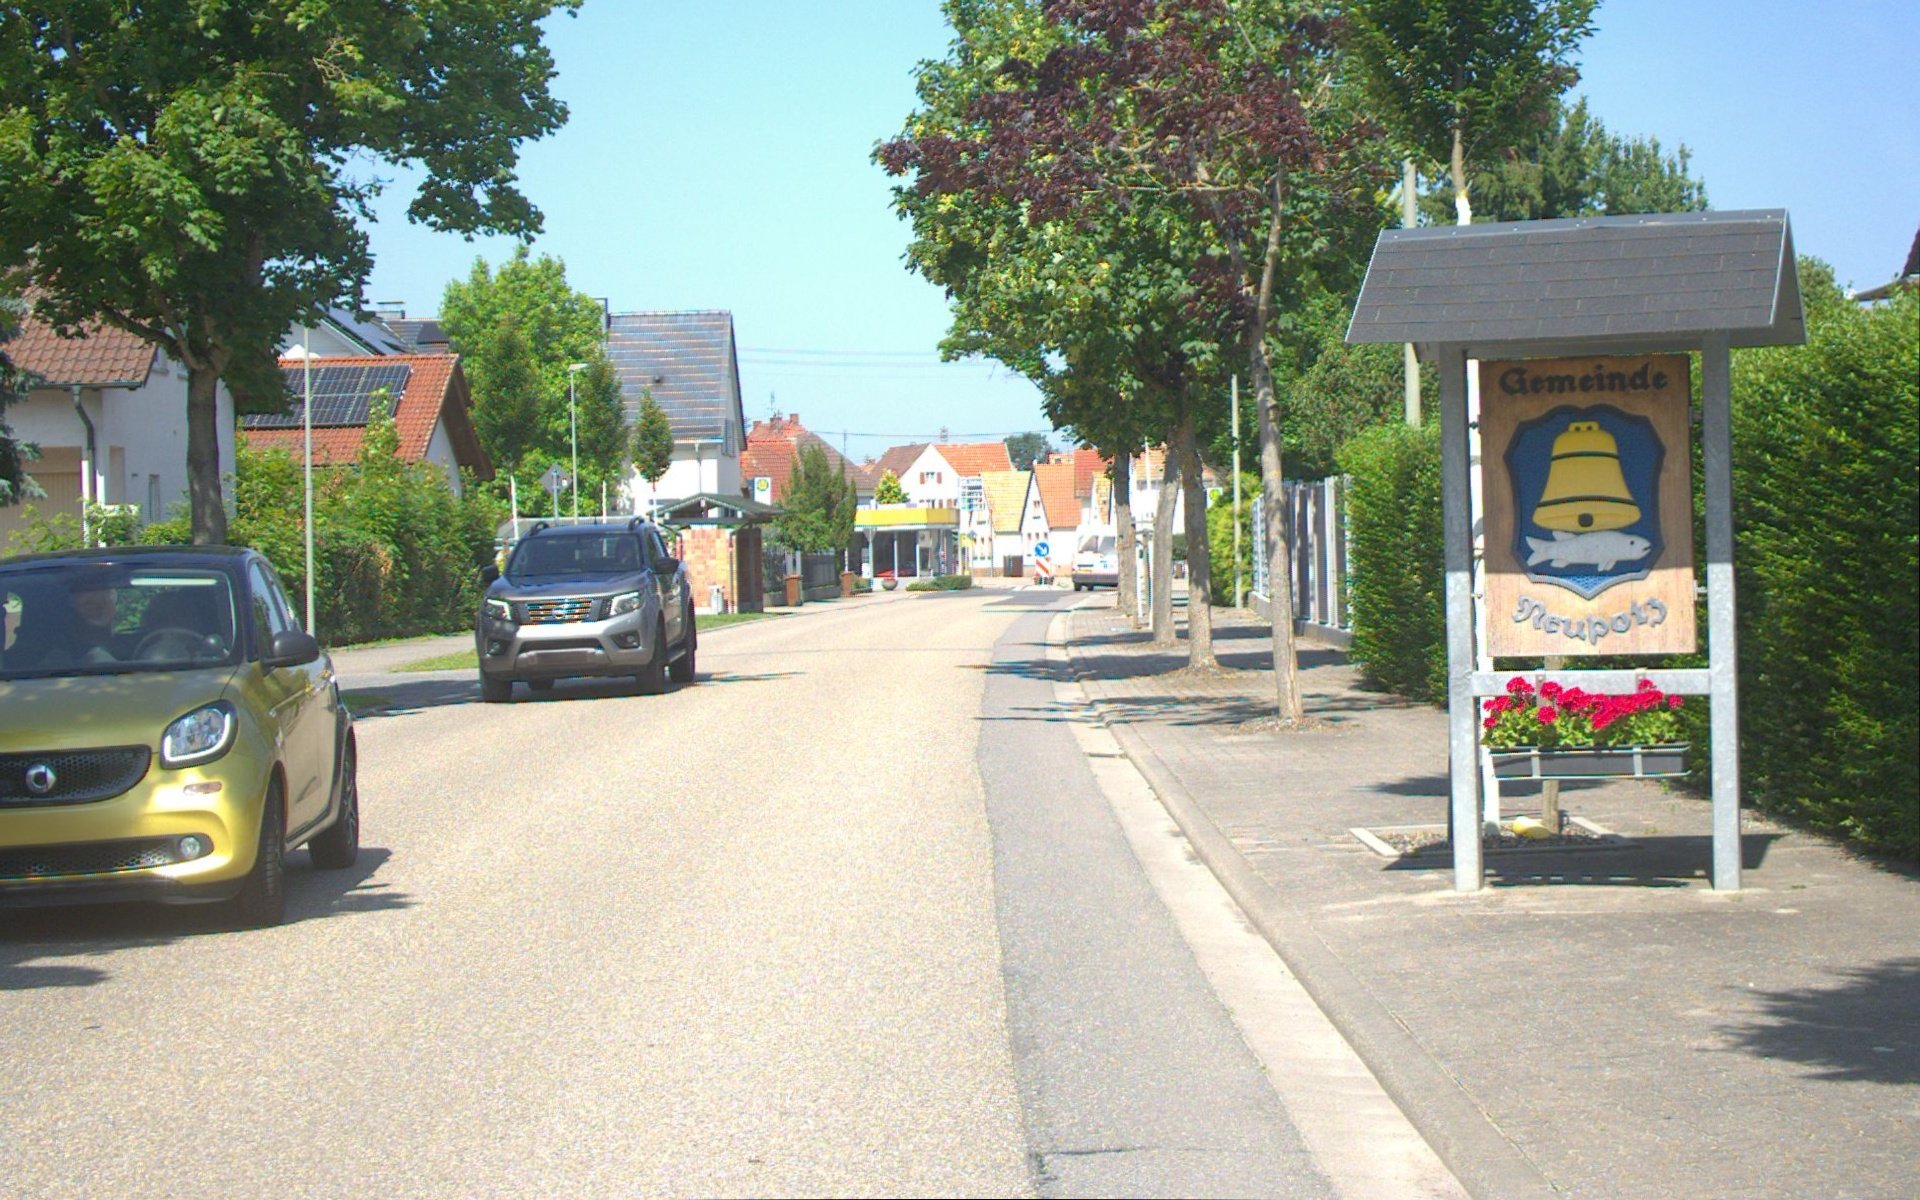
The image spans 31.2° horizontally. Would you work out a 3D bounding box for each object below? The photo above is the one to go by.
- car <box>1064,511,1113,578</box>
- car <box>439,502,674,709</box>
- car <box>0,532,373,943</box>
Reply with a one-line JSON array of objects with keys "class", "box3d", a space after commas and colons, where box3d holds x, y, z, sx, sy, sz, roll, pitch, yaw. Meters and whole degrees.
[{"class": "car", "box3d": [4.872, -2.106, 129.713, 1.738, 2.424, 4.374, -2, 1, 3]}, {"class": "car", "box3d": [-3.770, 0.008, 32.708, 1.835, 1.746, 3.796, -4, 1, -2]}, {"class": "car", "box3d": [-3.588, 0.508, 14.789, 1.665, 1.519, 3.443, -2, 1, -3]}]
